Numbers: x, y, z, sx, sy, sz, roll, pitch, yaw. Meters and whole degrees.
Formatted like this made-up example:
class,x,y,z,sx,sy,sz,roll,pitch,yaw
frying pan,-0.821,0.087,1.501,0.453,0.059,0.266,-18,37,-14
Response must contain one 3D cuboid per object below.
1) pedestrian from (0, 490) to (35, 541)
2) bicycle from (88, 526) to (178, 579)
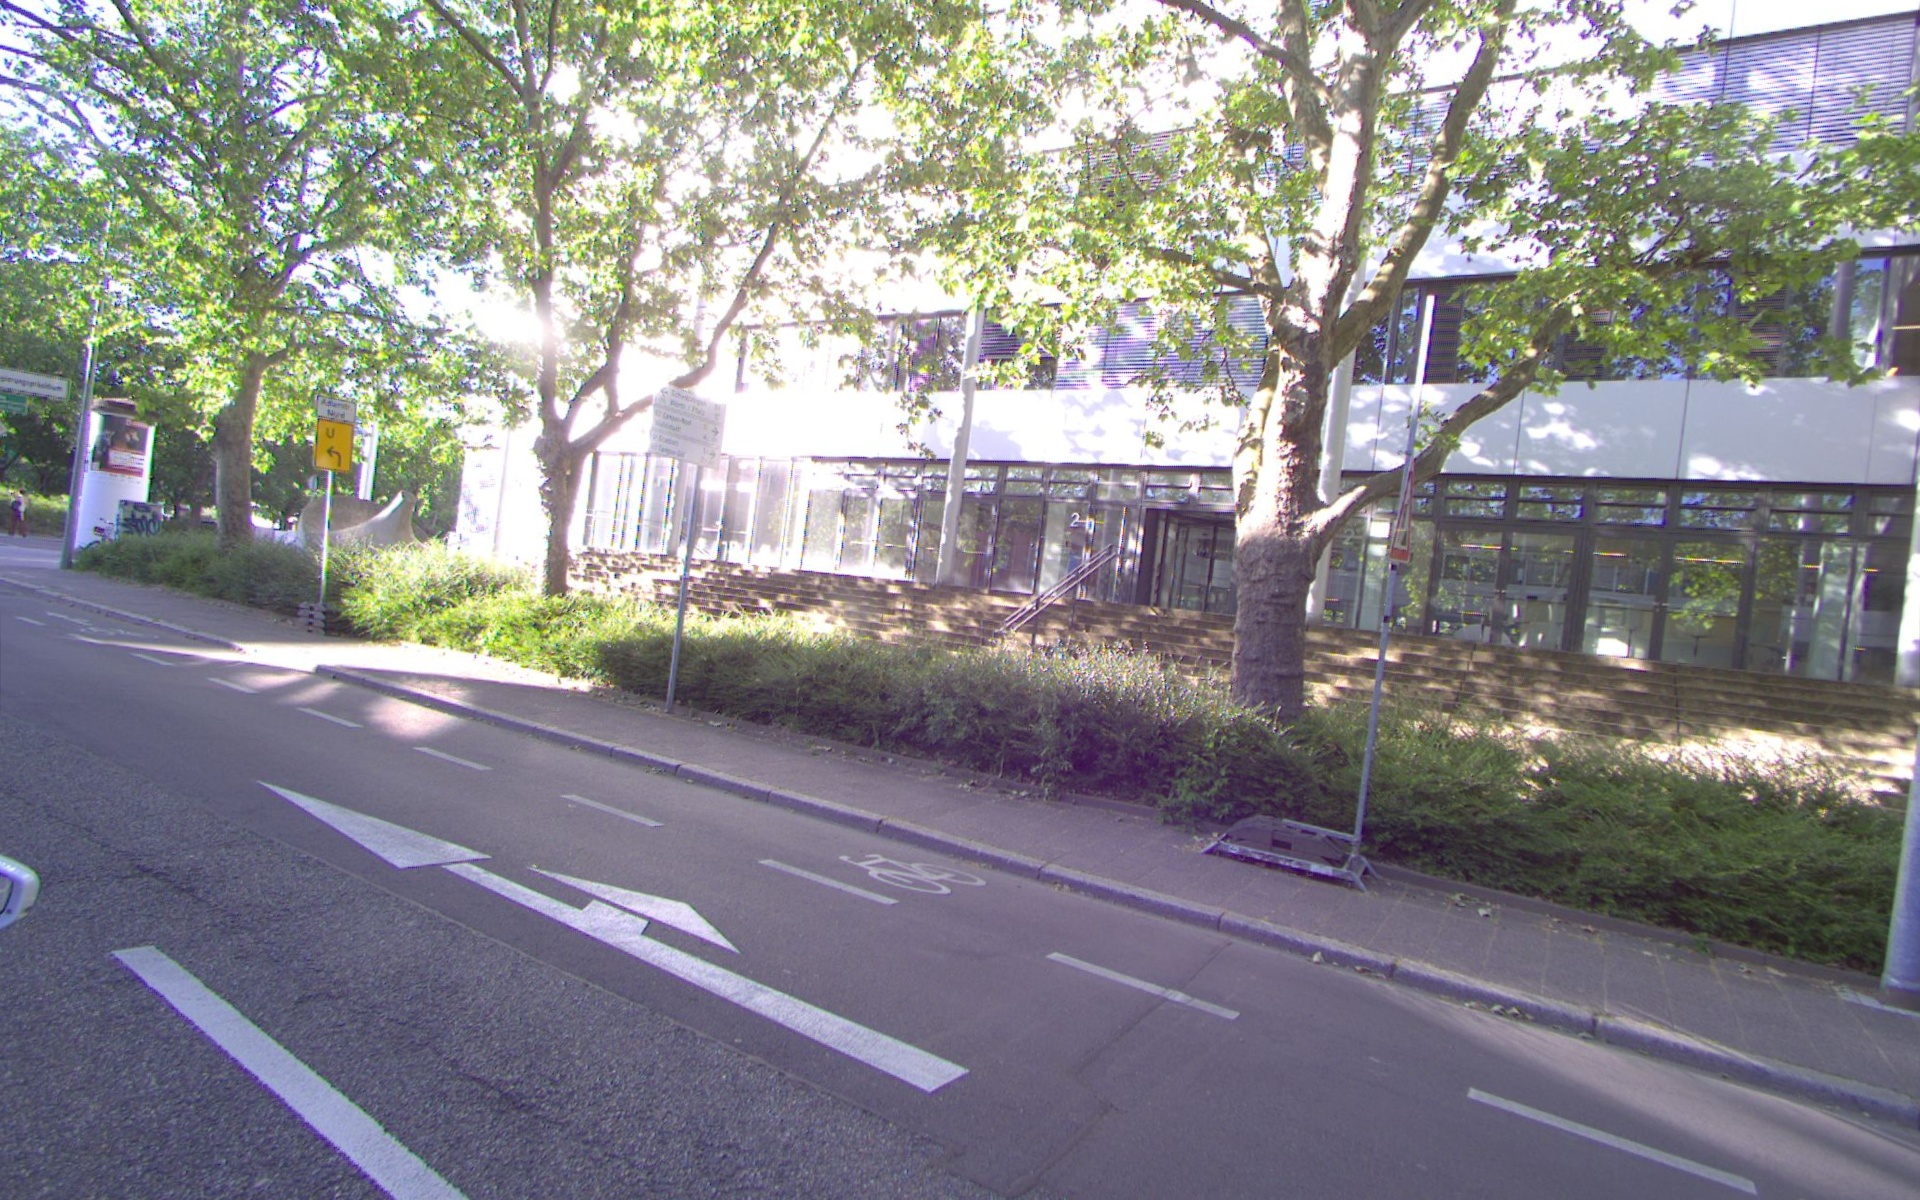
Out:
class,x,y,z,sx,sy,sz,roll,pitch,yaw
pedestrian,-35.806,-3.208,38.198,0.672,1.793,0.613,8,-1,-29
bicycle,-19.037,-1.077,23.177,0.295,0.991,1.484,6,-2,37
